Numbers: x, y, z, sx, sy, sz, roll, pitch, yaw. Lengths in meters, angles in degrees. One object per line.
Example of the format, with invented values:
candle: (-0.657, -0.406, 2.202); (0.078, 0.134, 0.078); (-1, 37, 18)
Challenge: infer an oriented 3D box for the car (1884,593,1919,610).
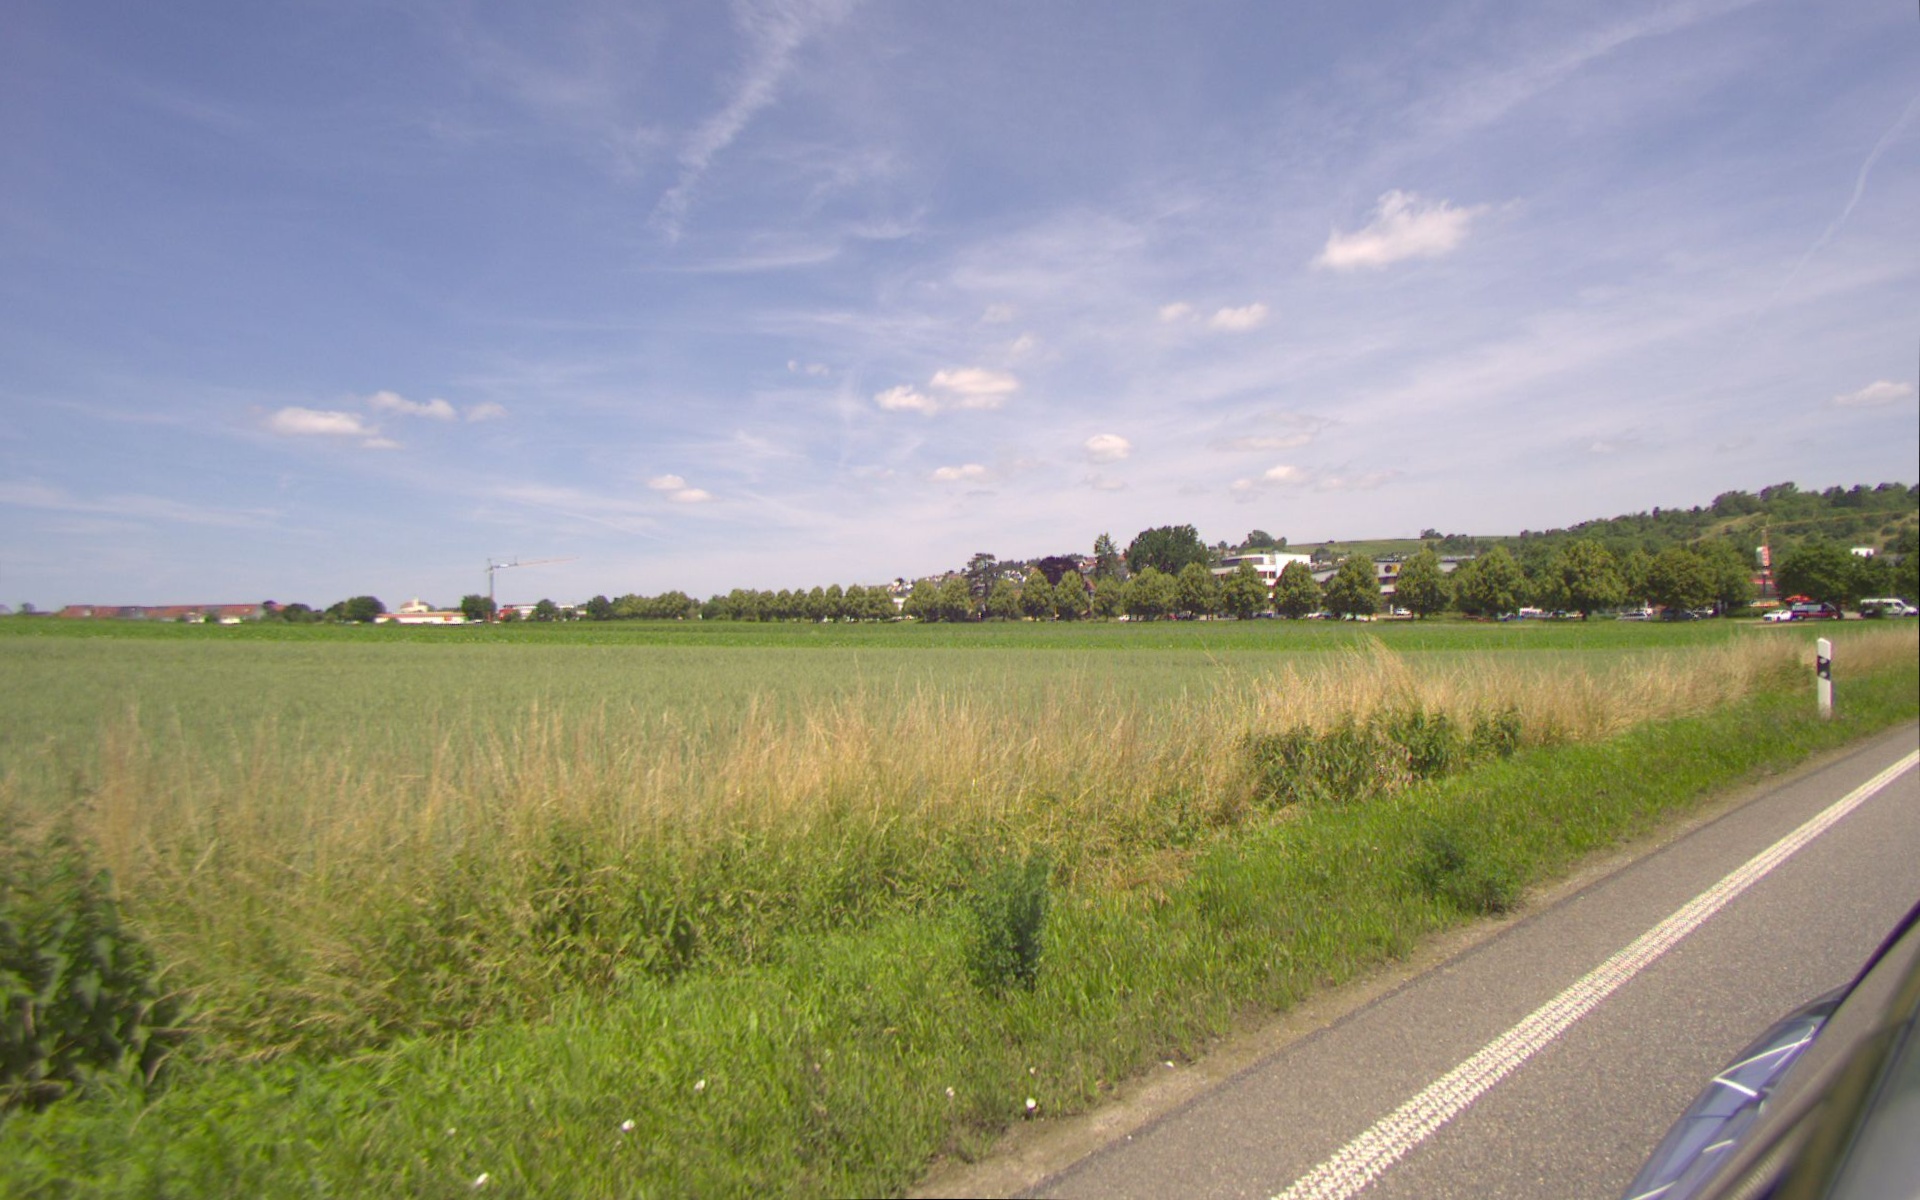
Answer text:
car: (118.715, 0.148, 127.043); (1.857, 2.039, 3.989); (0, 0, -44)

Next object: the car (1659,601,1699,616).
car: (103.168, 1.182, 145.238); (1.857, 2.039, 4.459); (0, 0, -44)

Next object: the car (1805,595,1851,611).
car: (113.533, 0.379, 132.352); (4.456, 2.039, 1.858); (0, 0, 44)
